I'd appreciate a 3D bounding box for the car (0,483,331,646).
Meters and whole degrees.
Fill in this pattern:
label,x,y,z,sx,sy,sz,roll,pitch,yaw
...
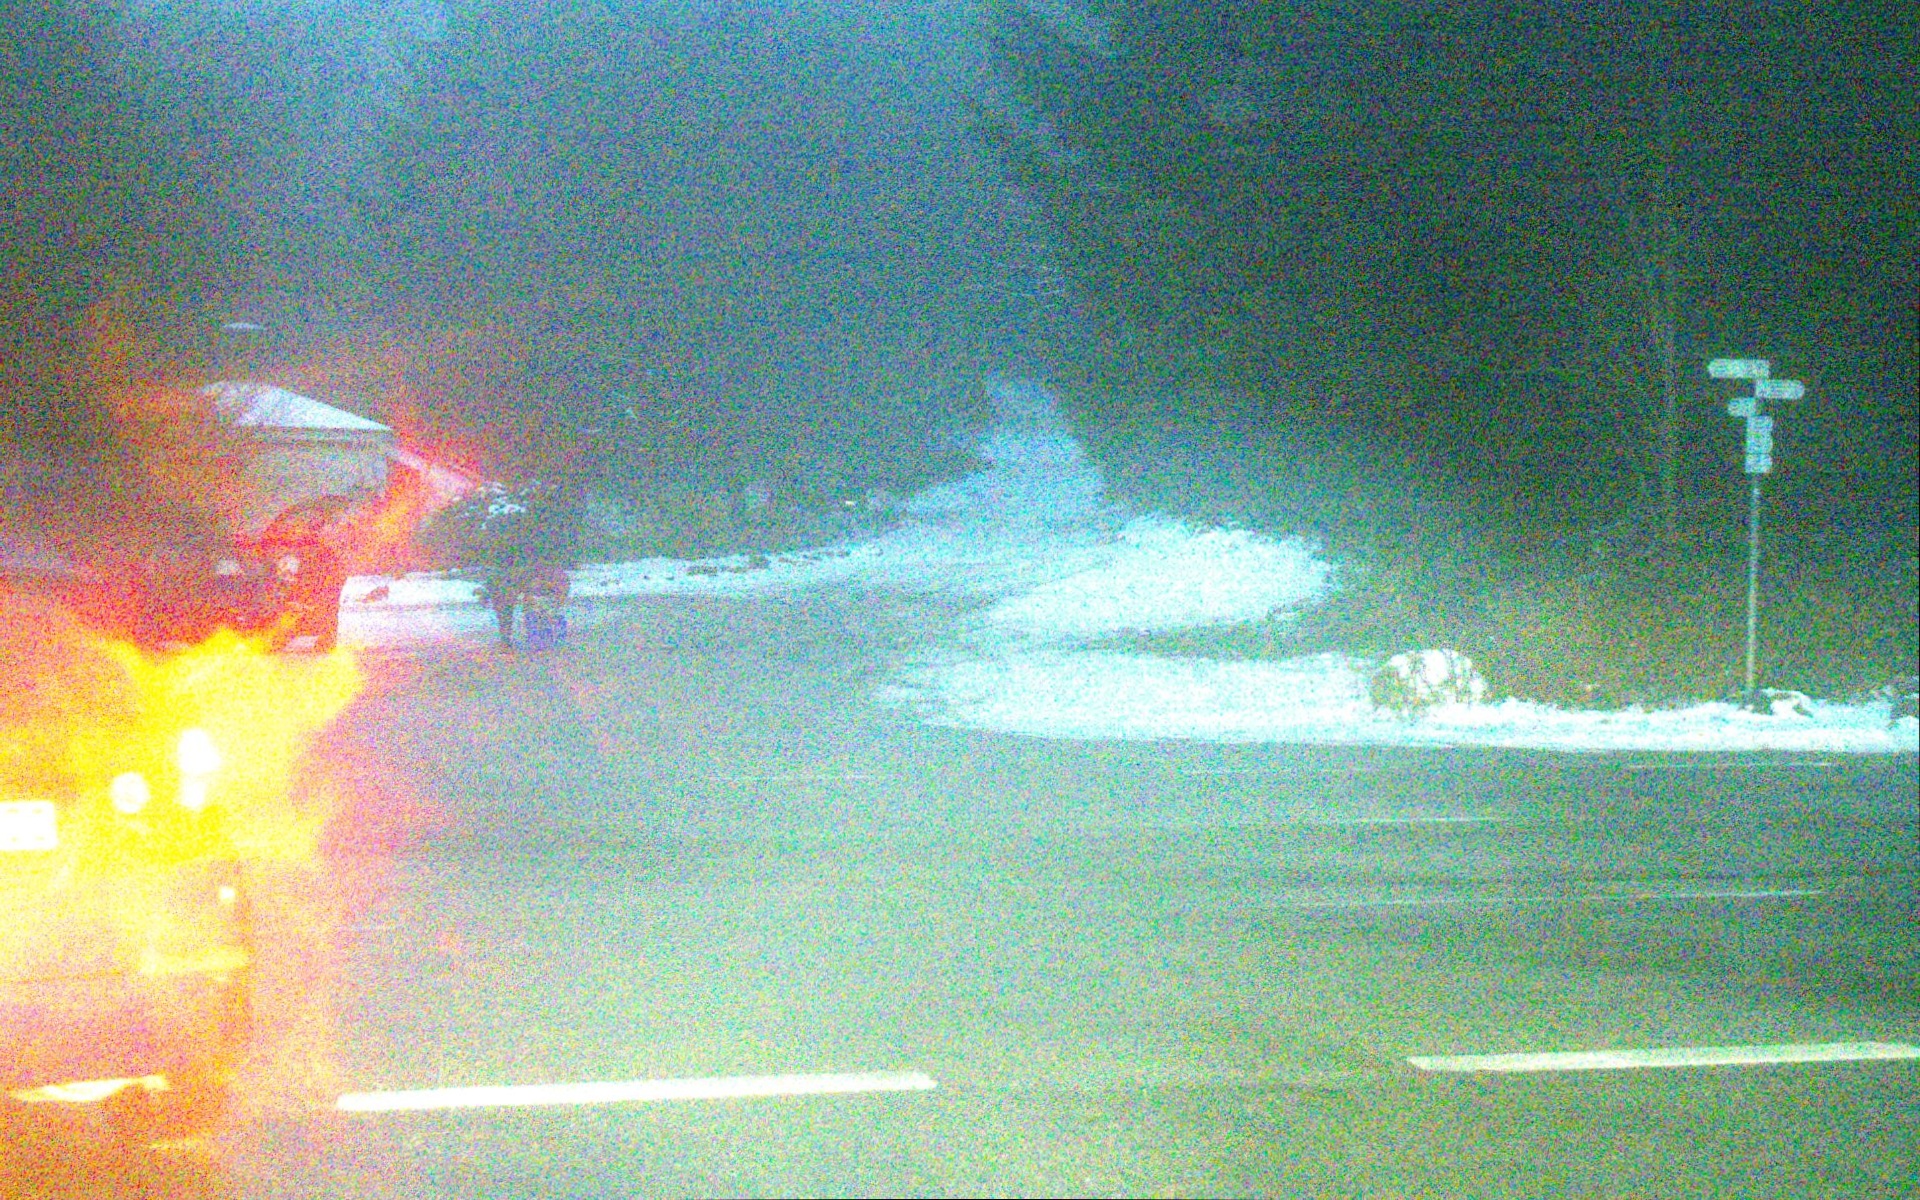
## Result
label,x,y,z,sx,sy,sz,roll,pitch,yaw
car,-9.861,-0.425,41.647,3.948,1.875,1.999,1,0,8

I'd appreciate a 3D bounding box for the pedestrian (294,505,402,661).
label,x,y,z,sx,sy,sz,roll,pitch,yaw
pedestrian,-7.296,-0.200,40.985,0.961,1.821,0.924,1,0,12

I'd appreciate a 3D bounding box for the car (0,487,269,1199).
label,x,y,z,sx,sy,sz,roll,pitch,yaw
car,-3.271,0.490,8.753,1.692,1.547,3.856,0,1,-32
